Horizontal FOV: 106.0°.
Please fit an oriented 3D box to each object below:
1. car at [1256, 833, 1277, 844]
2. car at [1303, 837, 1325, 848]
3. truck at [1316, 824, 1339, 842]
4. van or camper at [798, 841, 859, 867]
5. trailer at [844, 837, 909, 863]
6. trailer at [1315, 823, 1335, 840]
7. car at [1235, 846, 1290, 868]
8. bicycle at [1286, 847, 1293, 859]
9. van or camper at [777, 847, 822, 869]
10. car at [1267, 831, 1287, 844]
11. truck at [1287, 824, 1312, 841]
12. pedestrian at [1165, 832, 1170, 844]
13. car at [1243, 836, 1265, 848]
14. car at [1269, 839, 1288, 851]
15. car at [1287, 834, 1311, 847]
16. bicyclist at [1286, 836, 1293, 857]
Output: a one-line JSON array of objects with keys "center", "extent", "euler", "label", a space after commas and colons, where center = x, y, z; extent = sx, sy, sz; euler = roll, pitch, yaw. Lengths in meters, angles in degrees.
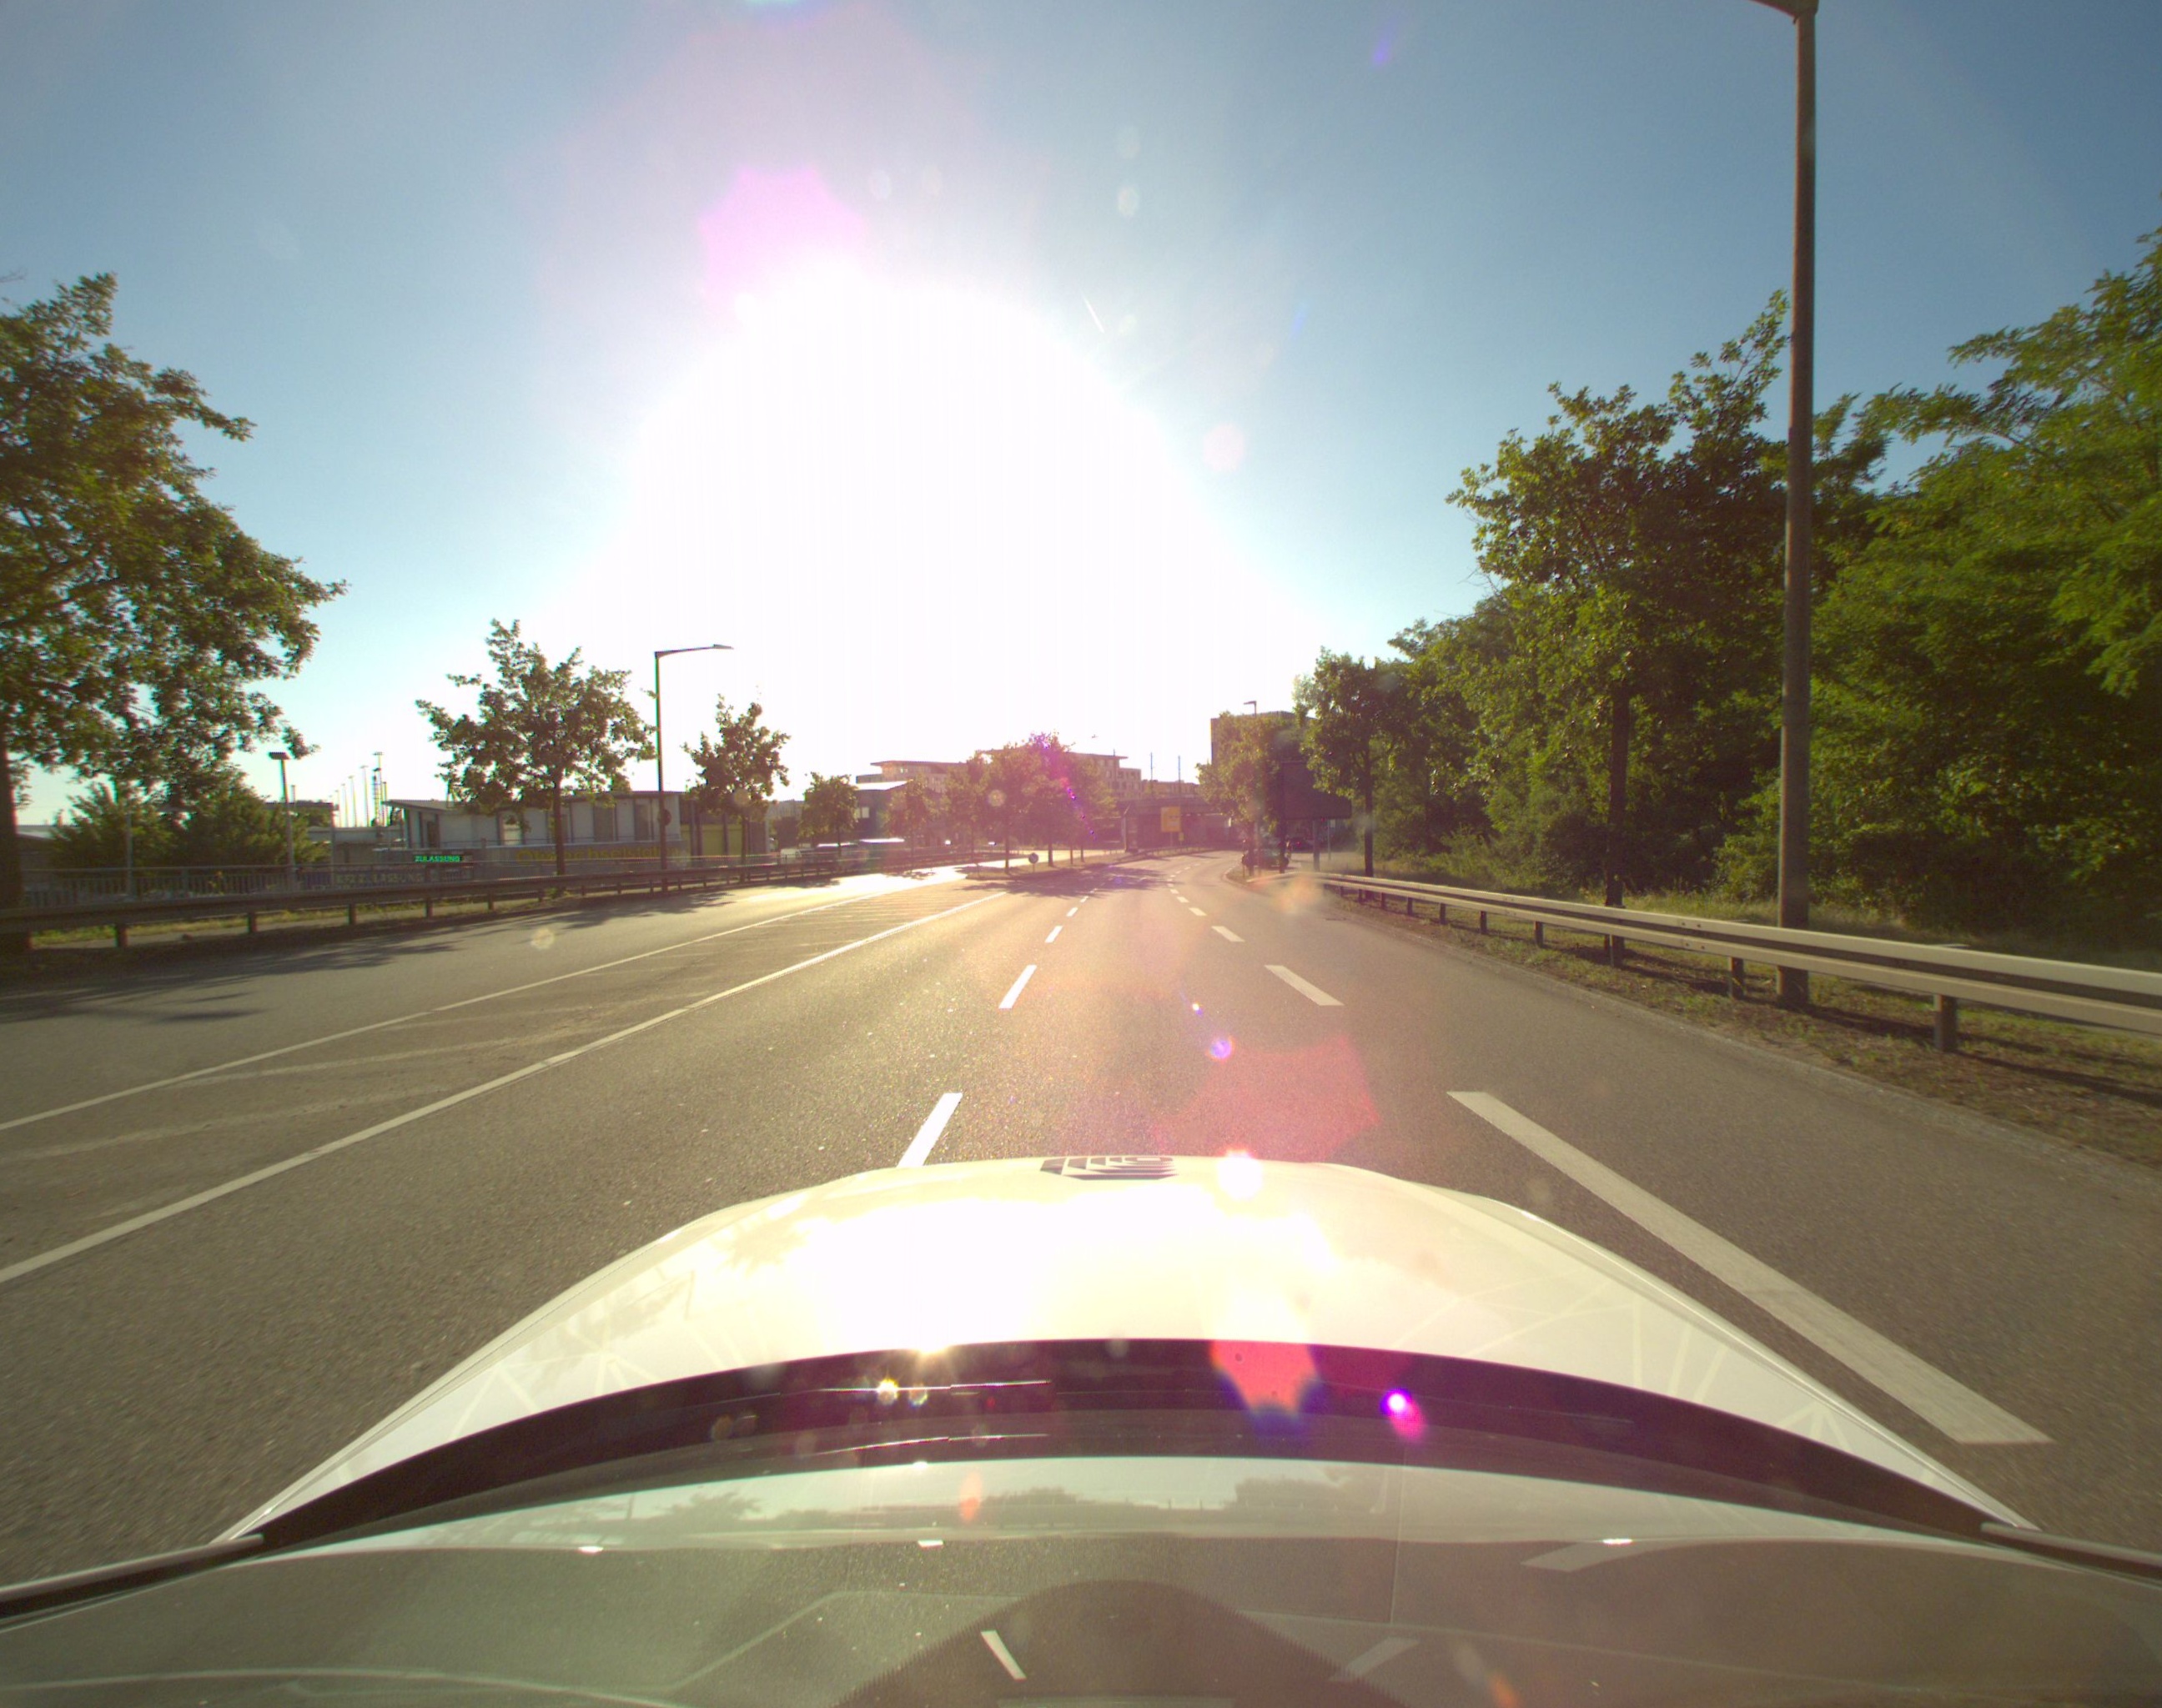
[{"center": [26.148, -2.186, 114.586], "extent": [1.823, 1.440, 3.699], "euler": [-3, 0, 30], "label": "car"}, {"center": [31.526, -1.557, 110.140], "extent": [1.755, 1.495, 3.857], "euler": [-1, 1, 33], "label": "car"}, {"center": [35.451, -2.934, 117.022], "extent": [2.091, 2.519, 4.429], "euler": [0, 1, 32], "label": "truck"}, {"center": [-17.343, -0.032, 56.252], "extent": [1.981, 1.685, 4.974], "euler": [0, 1, 10], "label": "van or camper"}, {"center": [-16.064, -0.361, 64.549], "extent": [2.404, 1.969, 6.626], "euler": [0, 1, 11], "label": "trailer"}, {"center": [37.785, -3.495, 126.087], "extent": [1.846, 2.464, 3.857], "euler": [-1, 1, 35], "label": "trailer"}, {"center": [14.489, 0.249, 64.800], "extent": [4.016, 1.508, 1.979], "euler": [-3, 0, -33], "label": "car"}, {"center": [19.261, -0.098, 75.277], "extent": [0.574, 0.963, 2.898], "euler": [0, 1, 15], "label": "bicycle"}, {"center": [-24.764, 0.356, 71.606], "extent": [4.176, 1.926, 2.012], "euler": [-1, 0, 42], "label": "van or camper"}, {"center": [28.789, -2.371, 119.315], "extent": [1.824, 1.719, 4.025], "euler": [-3, 0, 28], "label": "car"}, {"center": [33.785, -3.342, 125.679], "extent": [2.008, 2.556, 5.573], "euler": [0, 2, 34], "label": "truck"}, {"center": [14.262, -2.618, 134.423], "extent": [0.687, 1.903, 0.669], "euler": [0, 2, 35], "label": "pedestrian"}, {"center": [21.246, -1.429, 99.884], "extent": [1.567, 1.408, 3.856], "euler": [1, 2, 29], "label": "car"}, {"center": [26.002, -1.185, 107.130], "extent": [1.532, 1.423, 3.439], "euler": [-3, 1, 29], "label": "car"}, {"center": [27.770, -1.719, 103.628], "extent": [1.724, 1.454, 4.636], "euler": [1, 4, 31], "label": "car"}, {"center": [19.283, -0.725, 75.333], "extent": [0.677, 1.906, 0.837], "euler": [0, 2, 15], "label": "bicyclist"}]
